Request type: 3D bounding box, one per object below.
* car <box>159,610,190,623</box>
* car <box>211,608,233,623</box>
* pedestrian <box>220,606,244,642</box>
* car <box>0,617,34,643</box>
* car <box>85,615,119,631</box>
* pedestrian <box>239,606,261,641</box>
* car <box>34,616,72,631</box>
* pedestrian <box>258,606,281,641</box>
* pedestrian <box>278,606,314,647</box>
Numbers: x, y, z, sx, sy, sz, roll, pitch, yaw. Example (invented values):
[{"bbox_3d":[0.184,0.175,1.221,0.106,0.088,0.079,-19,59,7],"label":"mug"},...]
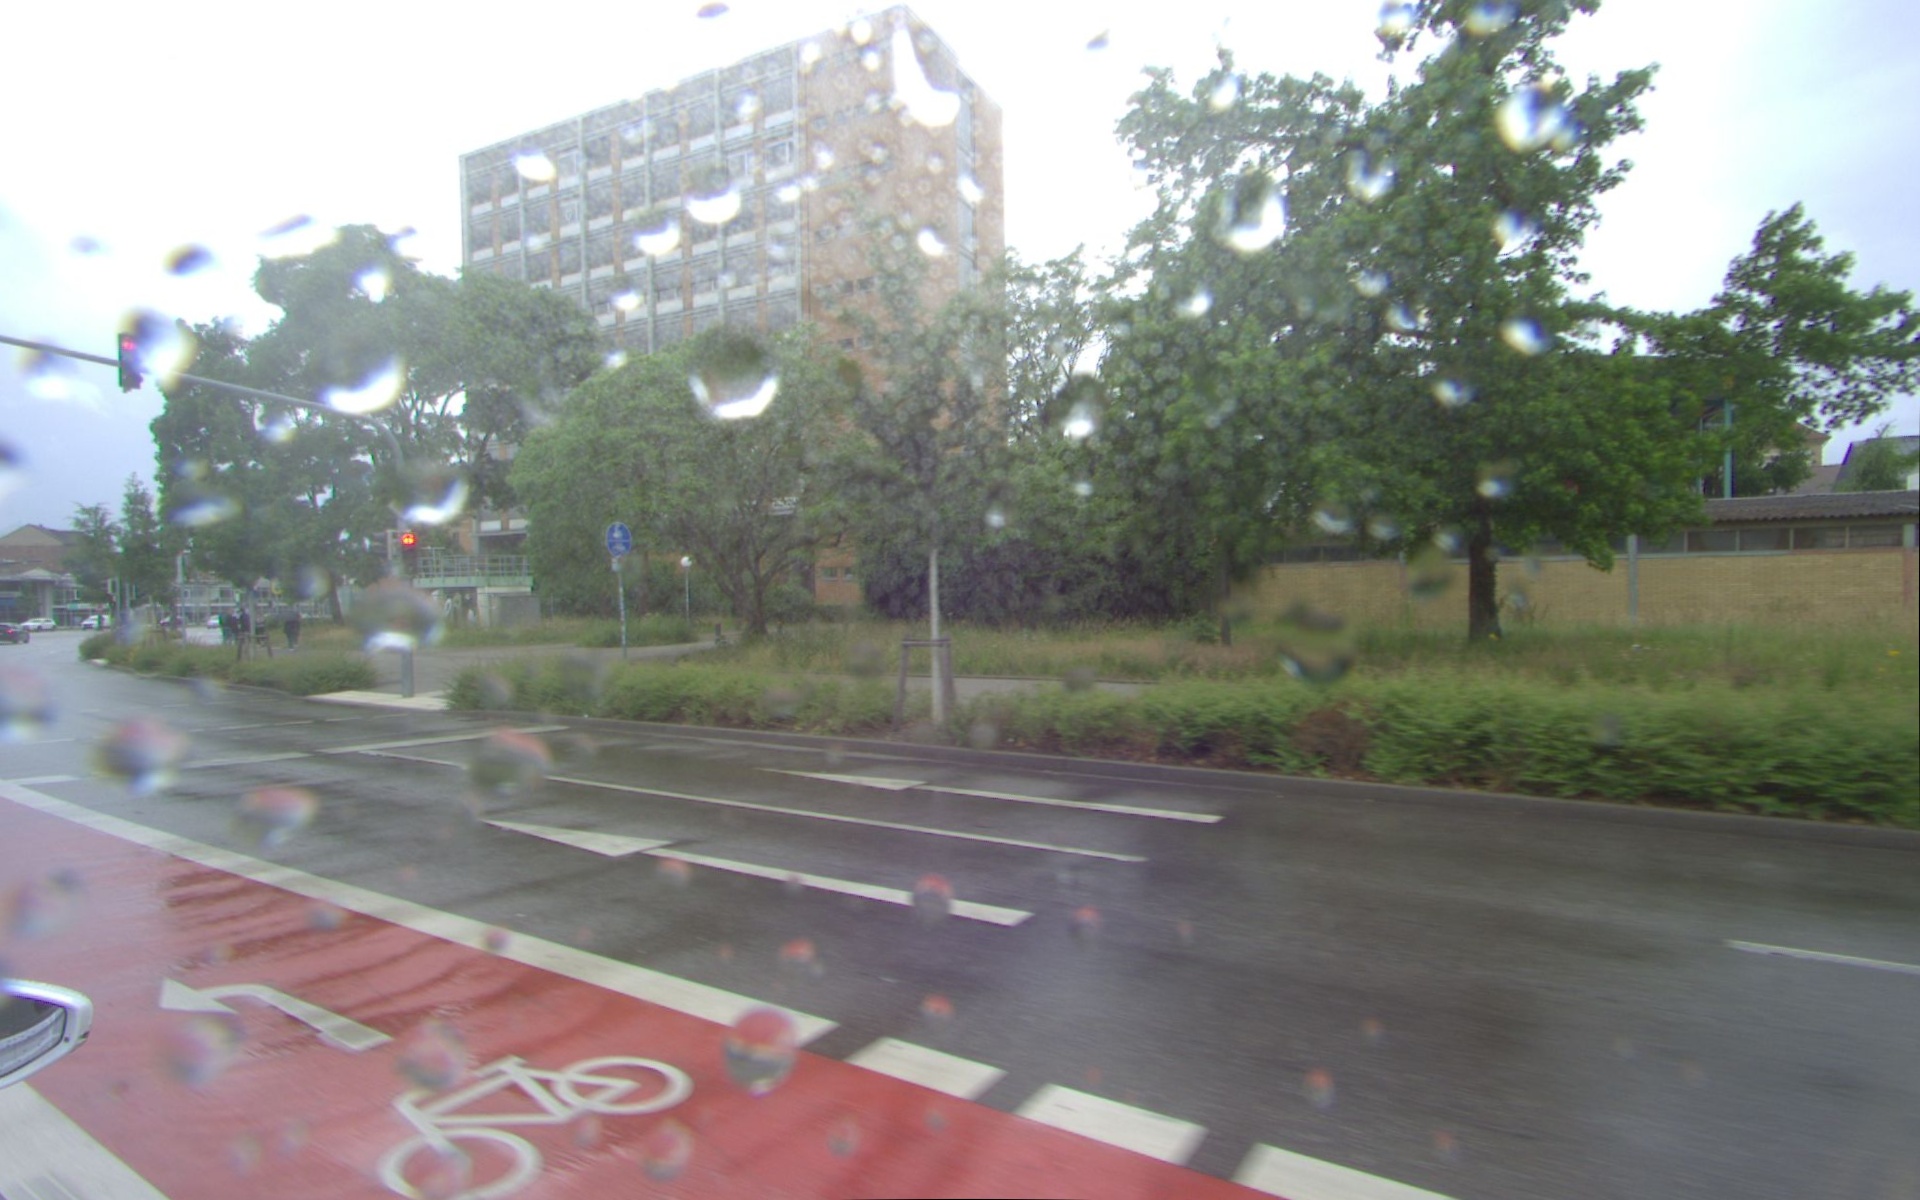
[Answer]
[{"bbox_3d":[-107.175,2.196,136.707,1.763,1.665,4.041,-1,0,-14],"label":"car"},{"bbox_3d":[-84.678,1.792,114.926,1.771,1.665,4.133,-1,0,-33],"label":"car"},{"bbox_3d":[-32.775,1.072,45.092,0.749,1.609,0.927,-1,1,-45],"label":"pedestrian"},{"bbox_3d":[-66.373,2.074,69.951,1.771,1.665,4.133,-1,0,-33],"label":"car"},{"bbox_3d":[-106.487,2.824,124.320,1.764,1.883,4.150,-1,0,-18],"label":"car"},{"bbox_3d":[-32.690,1.080,46.109,0.698,1.609,0.927,-1,1,-45],"label":"pedestrian"},{"bbox_3d":[-108.815,2.813,120.195,1.765,1.665,4.386,-1,0,-19],"label":"car"},{"bbox_3d":[-32.279,1.074,46.822,0.698,1.609,0.927,-1,1,-45],"label":"pedestrian"},{"bbox_3d":[-26.452,1.042,39.903,1.016,1.609,0.927,-1,1,-45],"label":"pedestrian"}]
